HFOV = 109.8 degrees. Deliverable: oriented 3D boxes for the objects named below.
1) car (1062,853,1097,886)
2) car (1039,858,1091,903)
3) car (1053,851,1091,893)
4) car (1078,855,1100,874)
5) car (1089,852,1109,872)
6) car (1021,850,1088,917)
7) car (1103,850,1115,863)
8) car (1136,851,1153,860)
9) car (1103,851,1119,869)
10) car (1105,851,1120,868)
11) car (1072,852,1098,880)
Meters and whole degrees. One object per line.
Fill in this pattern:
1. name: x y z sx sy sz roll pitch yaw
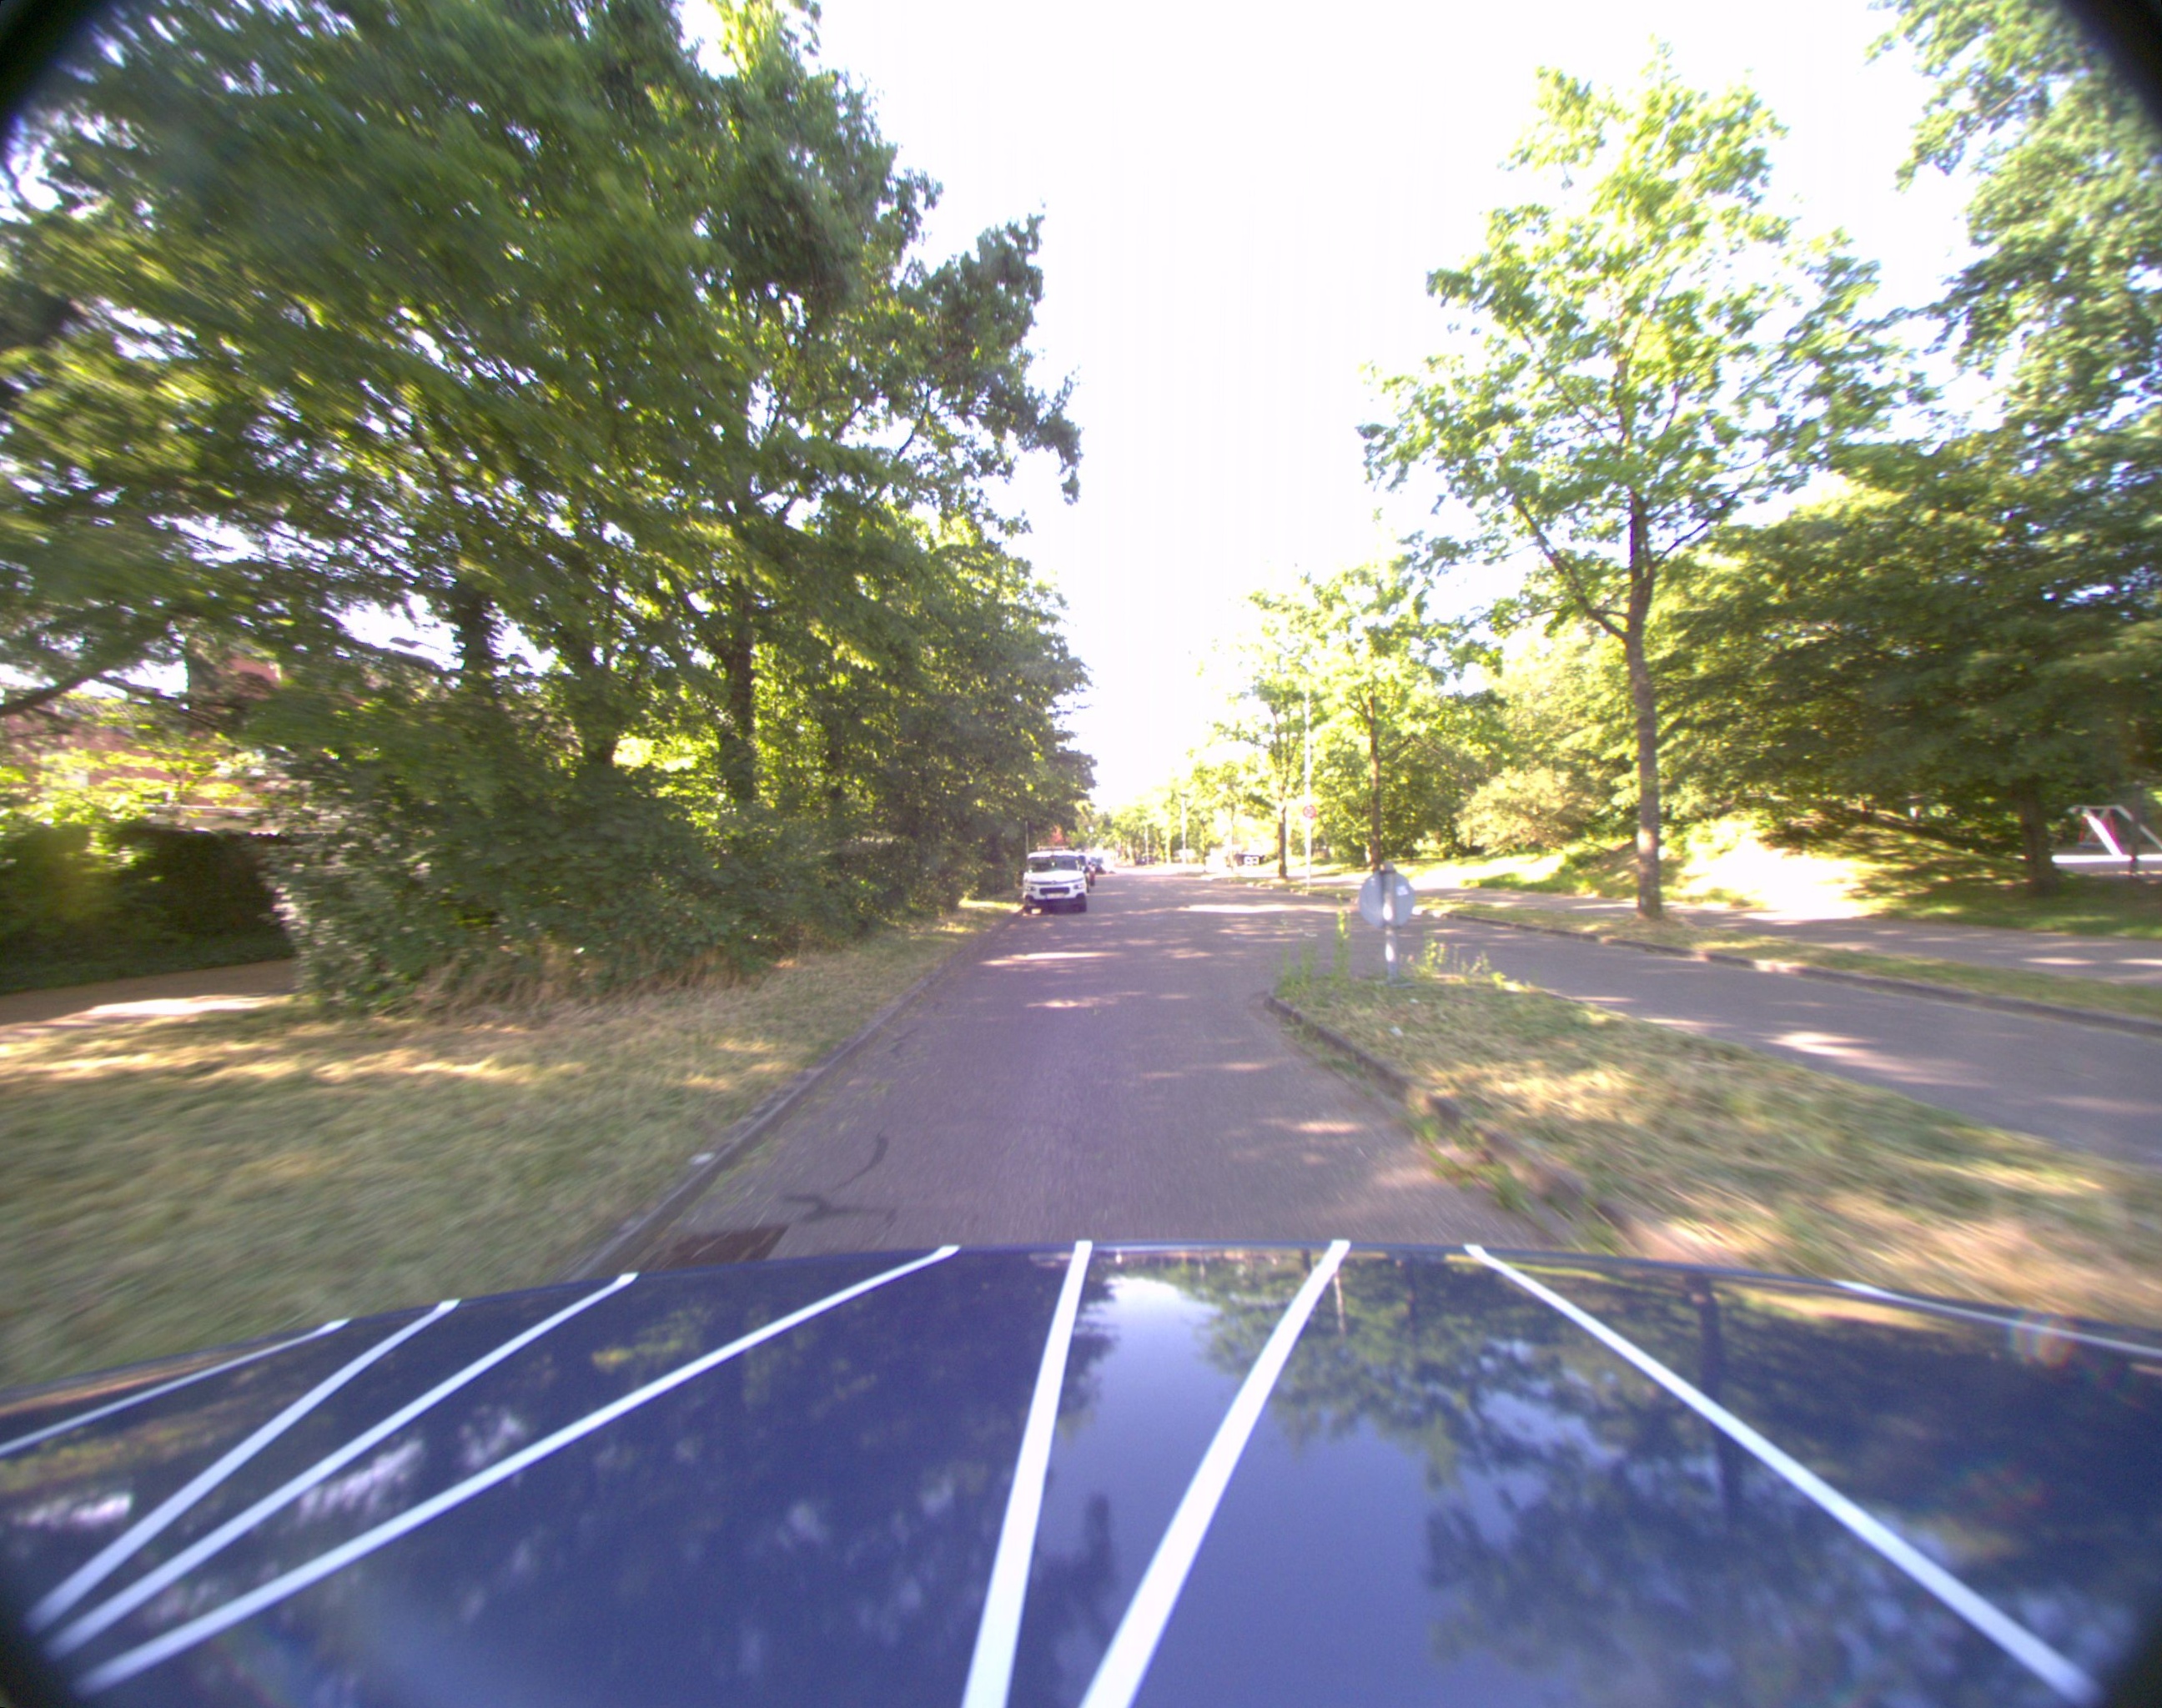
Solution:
1. car: -0.061 0.815 41.829 1.772 1.629 3.753 -2 0 1
2. car: -0.528 0.948 28.921 1.722 1.436 4.614 -3 0 1
3. car: -0.354 0.755 34.236 1.500 1.744 3.802 -2 0 1
4. car: 0.656 0.792 58.356 1.499 1.351 3.467 -2 0 4
5. car: 1.527 0.664 64.846 1.499 1.644 4.092 -2 0 4
6. car: -0.772 0.800 23.008 1.754 1.739 4.633 -2 1 -1
7. car: 3.672 0.290 98.048 1.421 1.644 3.910 -2 0 4
8. car: 9.736 0.170 117.447 1.999 1.359 3.998 -1 1 -5
9. car: 2.958 0.548 74.784 1.449 1.644 3.720 -2 0 4
10. car: 3.280 0.550 79.781 1.449 1.644 3.720 -2 0 4
11. car: 0.277 0.745 48.116 1.500 1.629 3.753 -2 0 1
